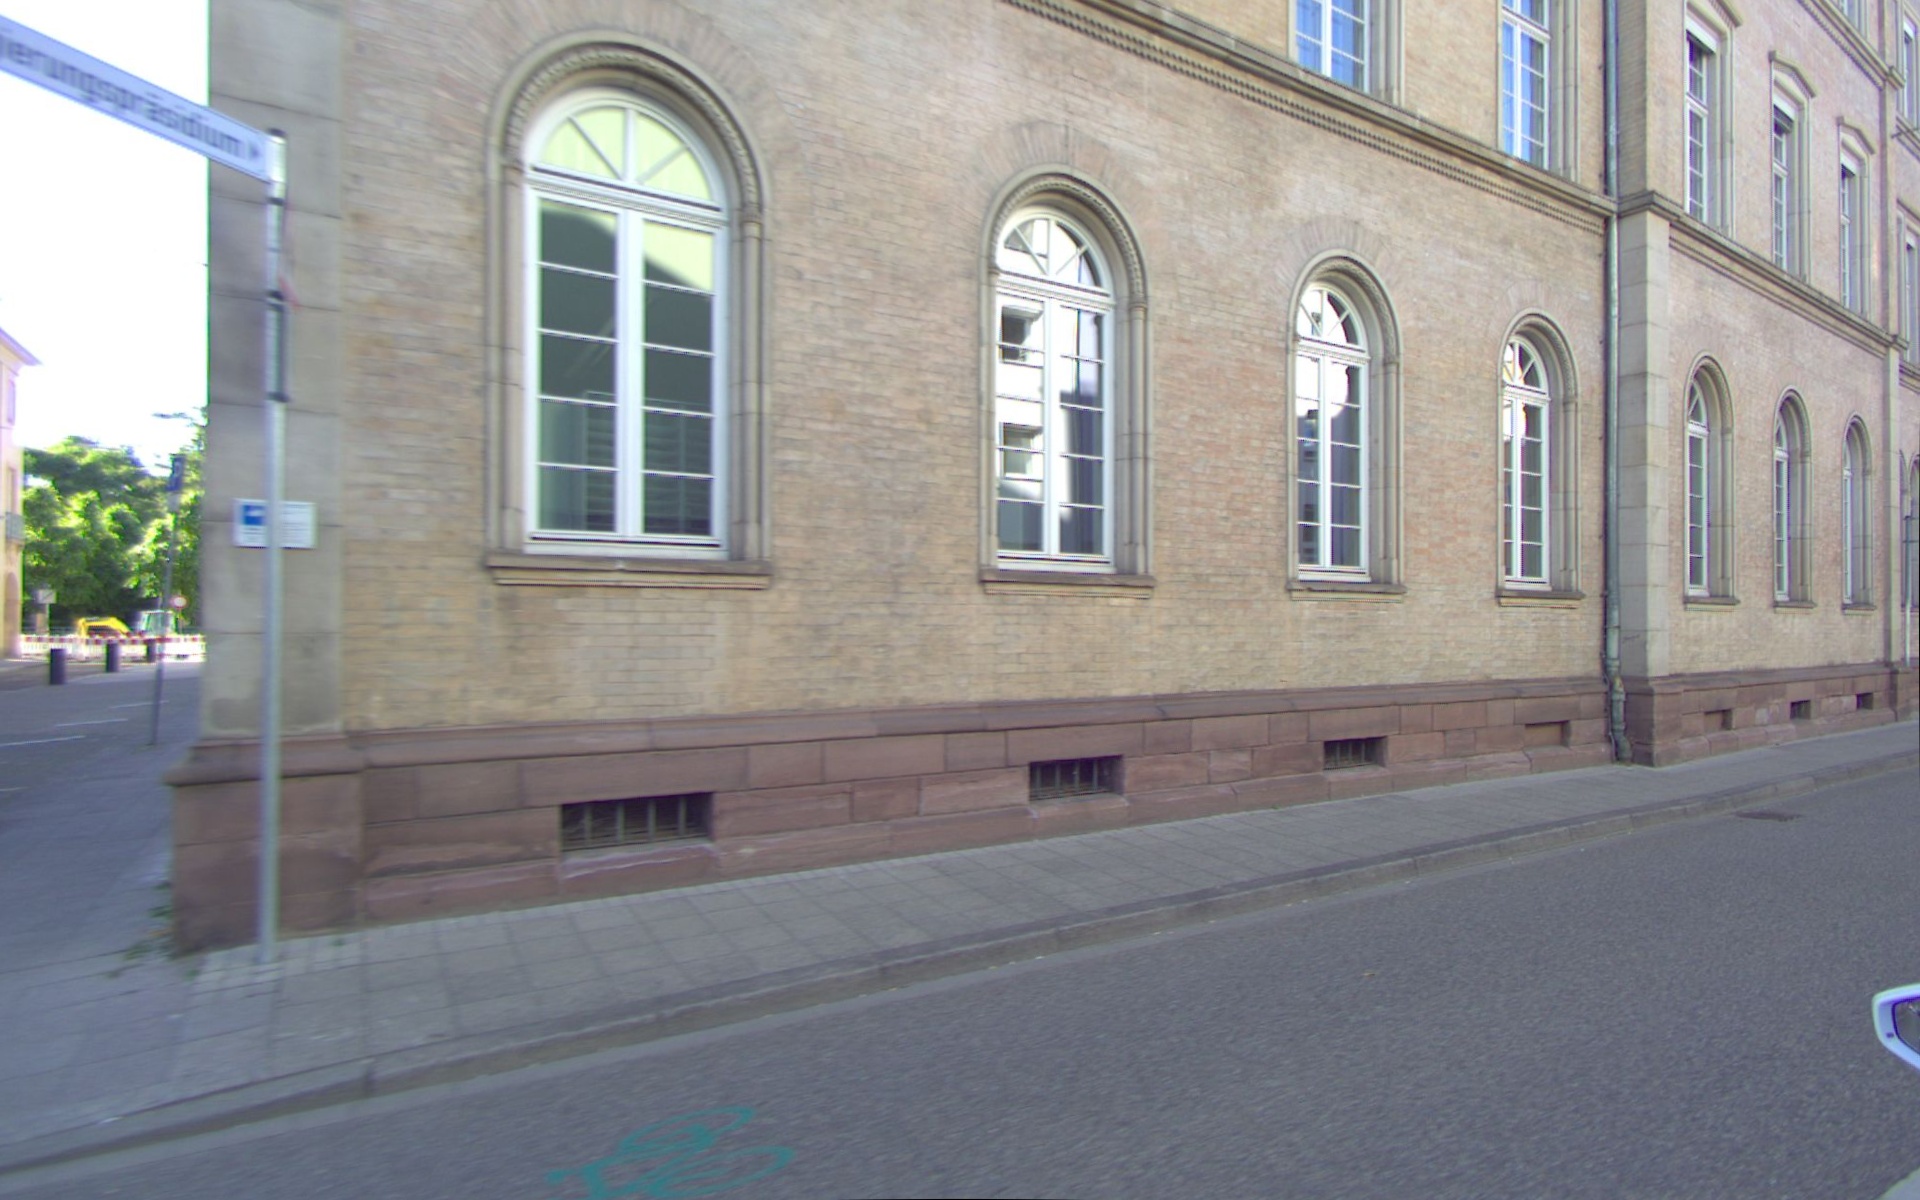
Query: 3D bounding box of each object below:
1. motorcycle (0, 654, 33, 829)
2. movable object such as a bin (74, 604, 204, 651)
[{"bbox_3d":[-7.110,0.960,6.072,0.647,1.189,2.202,-1,-1,15],"label":"motorcycle"},{"bbox_3d":[-40.607,1.342,49.891,4.412,2.198,3.079,0,-1,-28],"label":"movable object such as a bin"}]
